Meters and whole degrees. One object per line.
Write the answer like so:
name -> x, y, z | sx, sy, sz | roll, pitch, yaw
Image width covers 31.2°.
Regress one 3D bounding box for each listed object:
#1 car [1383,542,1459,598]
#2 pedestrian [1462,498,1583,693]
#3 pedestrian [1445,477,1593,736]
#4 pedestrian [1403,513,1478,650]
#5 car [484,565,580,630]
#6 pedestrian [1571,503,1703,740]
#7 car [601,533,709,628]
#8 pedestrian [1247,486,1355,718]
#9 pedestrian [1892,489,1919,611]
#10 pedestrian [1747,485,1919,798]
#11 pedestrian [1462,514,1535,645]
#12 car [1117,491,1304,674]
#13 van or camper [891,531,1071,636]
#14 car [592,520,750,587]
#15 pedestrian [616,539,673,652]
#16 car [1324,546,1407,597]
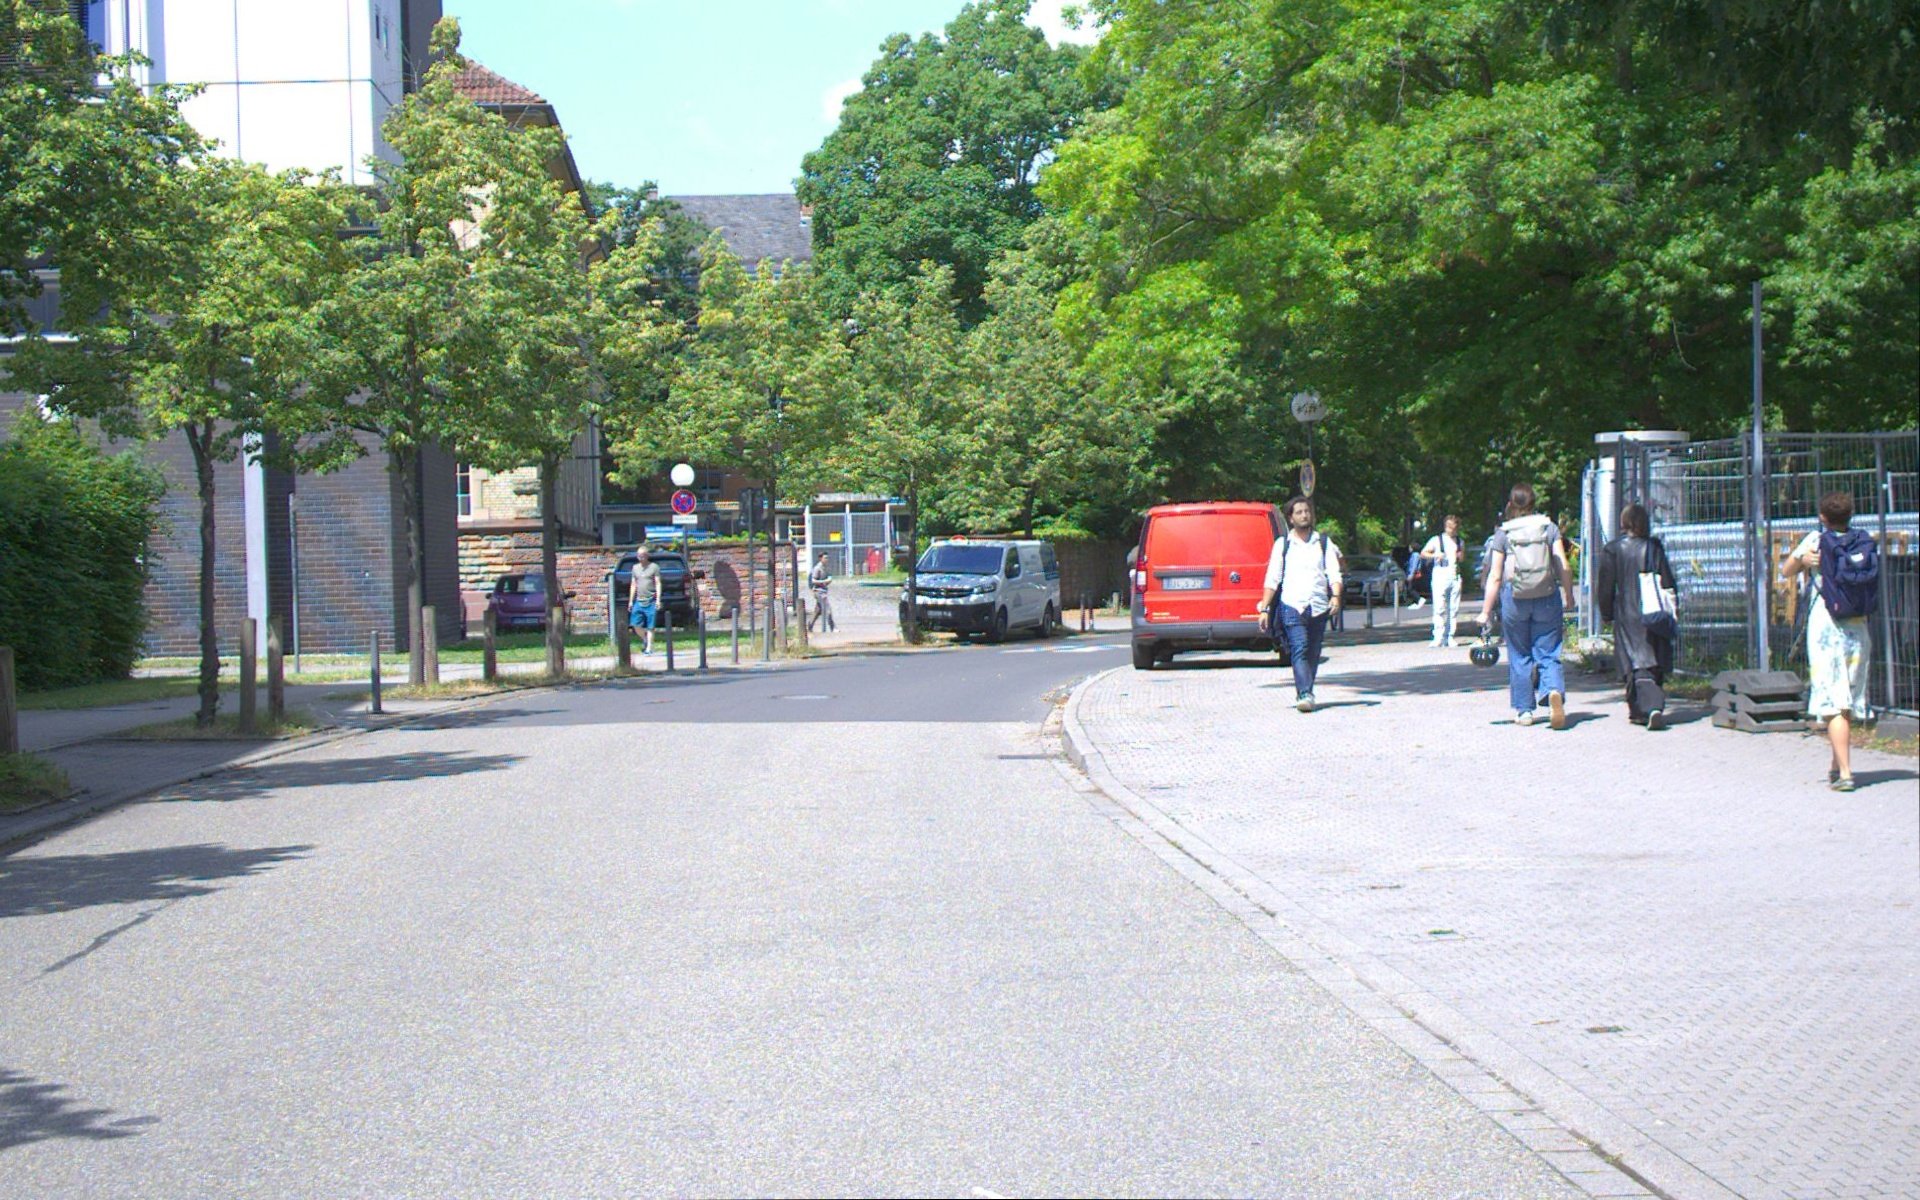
car -> 14.255, -0.935, 106.203 | 1.617, 1.673, 3.997 | -1, 1, 18
pedestrian -> 4.803, -0.039, 29.357 | 0.712, 1.626, 0.711 | -2, 0, -22
pedestrian -> 3.908, 0.039, 24.078 | 0.850, 1.758, 0.716 | -2, 1, -1
pedestrian -> 6.455, -0.245, 46.186 | 0.721, 1.815, 0.630 | -2, 0, -39
car -> -9.101, -0.067, 73.250 | 1.817, 1.319, 3.768 | -1, 1, -4
pedestrian -> 4.707, 0.140, 23.952 | 0.668, 1.594, 0.985 | -2, 1, 0
car -> -6.531, -0.425, 73.414 | 2.174, 1.919, 5.187 | -1, 1, -5
pedestrian -> 2.672, 0.010, 27.008 | 0.694, 1.775, 0.787 | -2, 1, -2
pedestrian -> 14.462, -0.758, 51.977 | 0.543, 1.831, 0.761 | -1, 0, 4
pedestrian -> 4.817, 0.218, 18.925 | 0.649, 1.660, 0.904 | -2, 1, -5
pedestrian -> 7.104, -0.265, 45.368 | 0.743, 1.704, 0.564 | -2, 0, -39
car -> 2.901, -0.227, 38.944 | 1.849, 1.885, 4.889 | -2, 1, 7
van or camper -> 0.461, -0.338, 65.502 | 1.955, 1.916, 5.416 | 0, 1, 17
car -> -8.375, -1.339, 99.498 | 4.156, 1.817, 2.001 | -2, 1, -20
pedestrian -> -4.994, -0.080, 54.497 | 0.584, 1.758, 0.911 | -1, 1, 14
car -> 11.568, -0.833, 97.950 | 1.617, 1.383, 3.997 | -1, 1, 18
